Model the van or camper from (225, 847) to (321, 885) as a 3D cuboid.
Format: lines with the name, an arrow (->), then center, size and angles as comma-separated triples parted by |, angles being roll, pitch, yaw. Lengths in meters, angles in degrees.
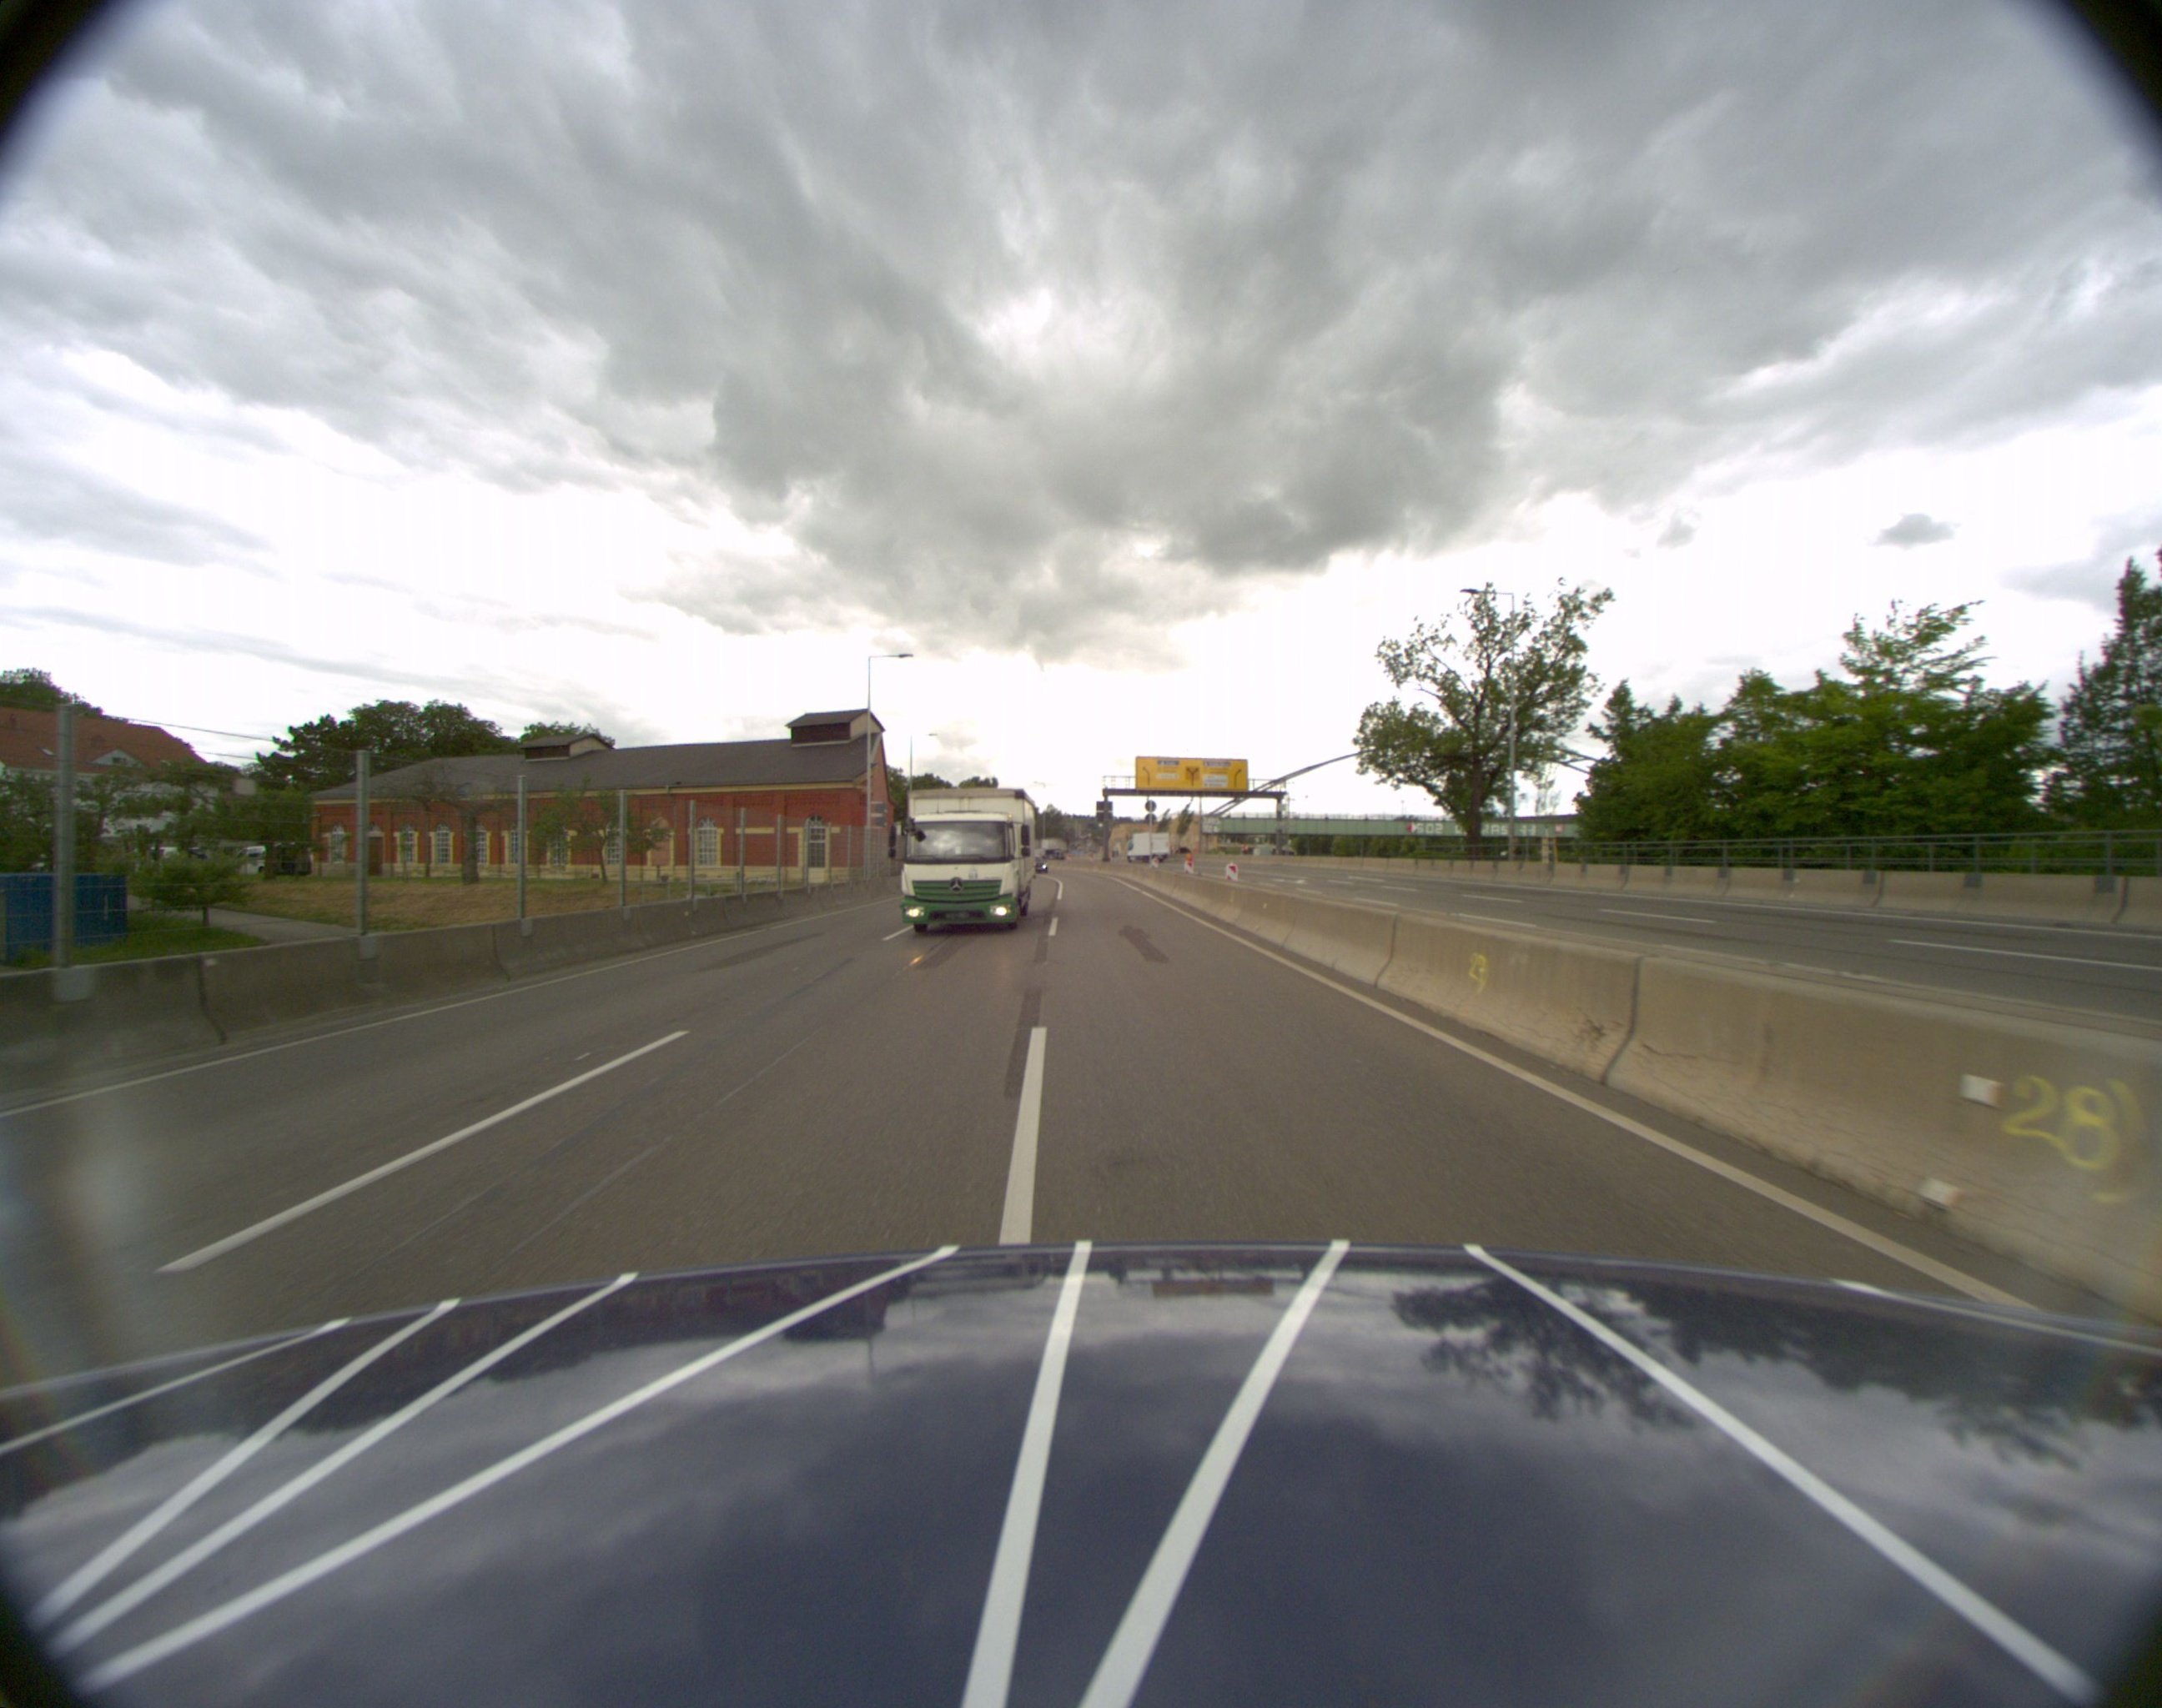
van or camper -> -47.759, 0.720, 44.933 | 4.561, 2.133, 2.002 | -1, 1, 17

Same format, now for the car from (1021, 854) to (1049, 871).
car -> -3.952, 0.699, 64.800 | 1.826, 1.440, 3.608 | -1, 0, -11

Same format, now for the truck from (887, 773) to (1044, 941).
truck -> -2.461, 0.063, 18.748 | 2.636, 3.220, 7.415 | -3, 0, 0

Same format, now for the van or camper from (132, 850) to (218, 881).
van or camper -> -60.795, 0.772, 50.994 | 4.489, 2.002, 1.907 | -1, 1, 14

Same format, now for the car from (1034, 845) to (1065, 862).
car -> -3.626, -0.074, 86.513 | 1.909, 1.795, 4.945 | -2, 0, -21

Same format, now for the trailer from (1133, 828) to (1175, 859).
trailer -> 7.594, -1.072, 79.675 | 2.281, 3.120, 5.702 | -2, 1, -17

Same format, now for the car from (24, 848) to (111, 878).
car -> -64.108, 0.574, 48.096 | 3.992, 1.772, 2.002 | -1, 1, 17

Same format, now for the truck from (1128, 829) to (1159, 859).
truck -> 6.760, -1.094, 82.252 | 2.281, 3.096, 2.982 | -2, 1, -17
